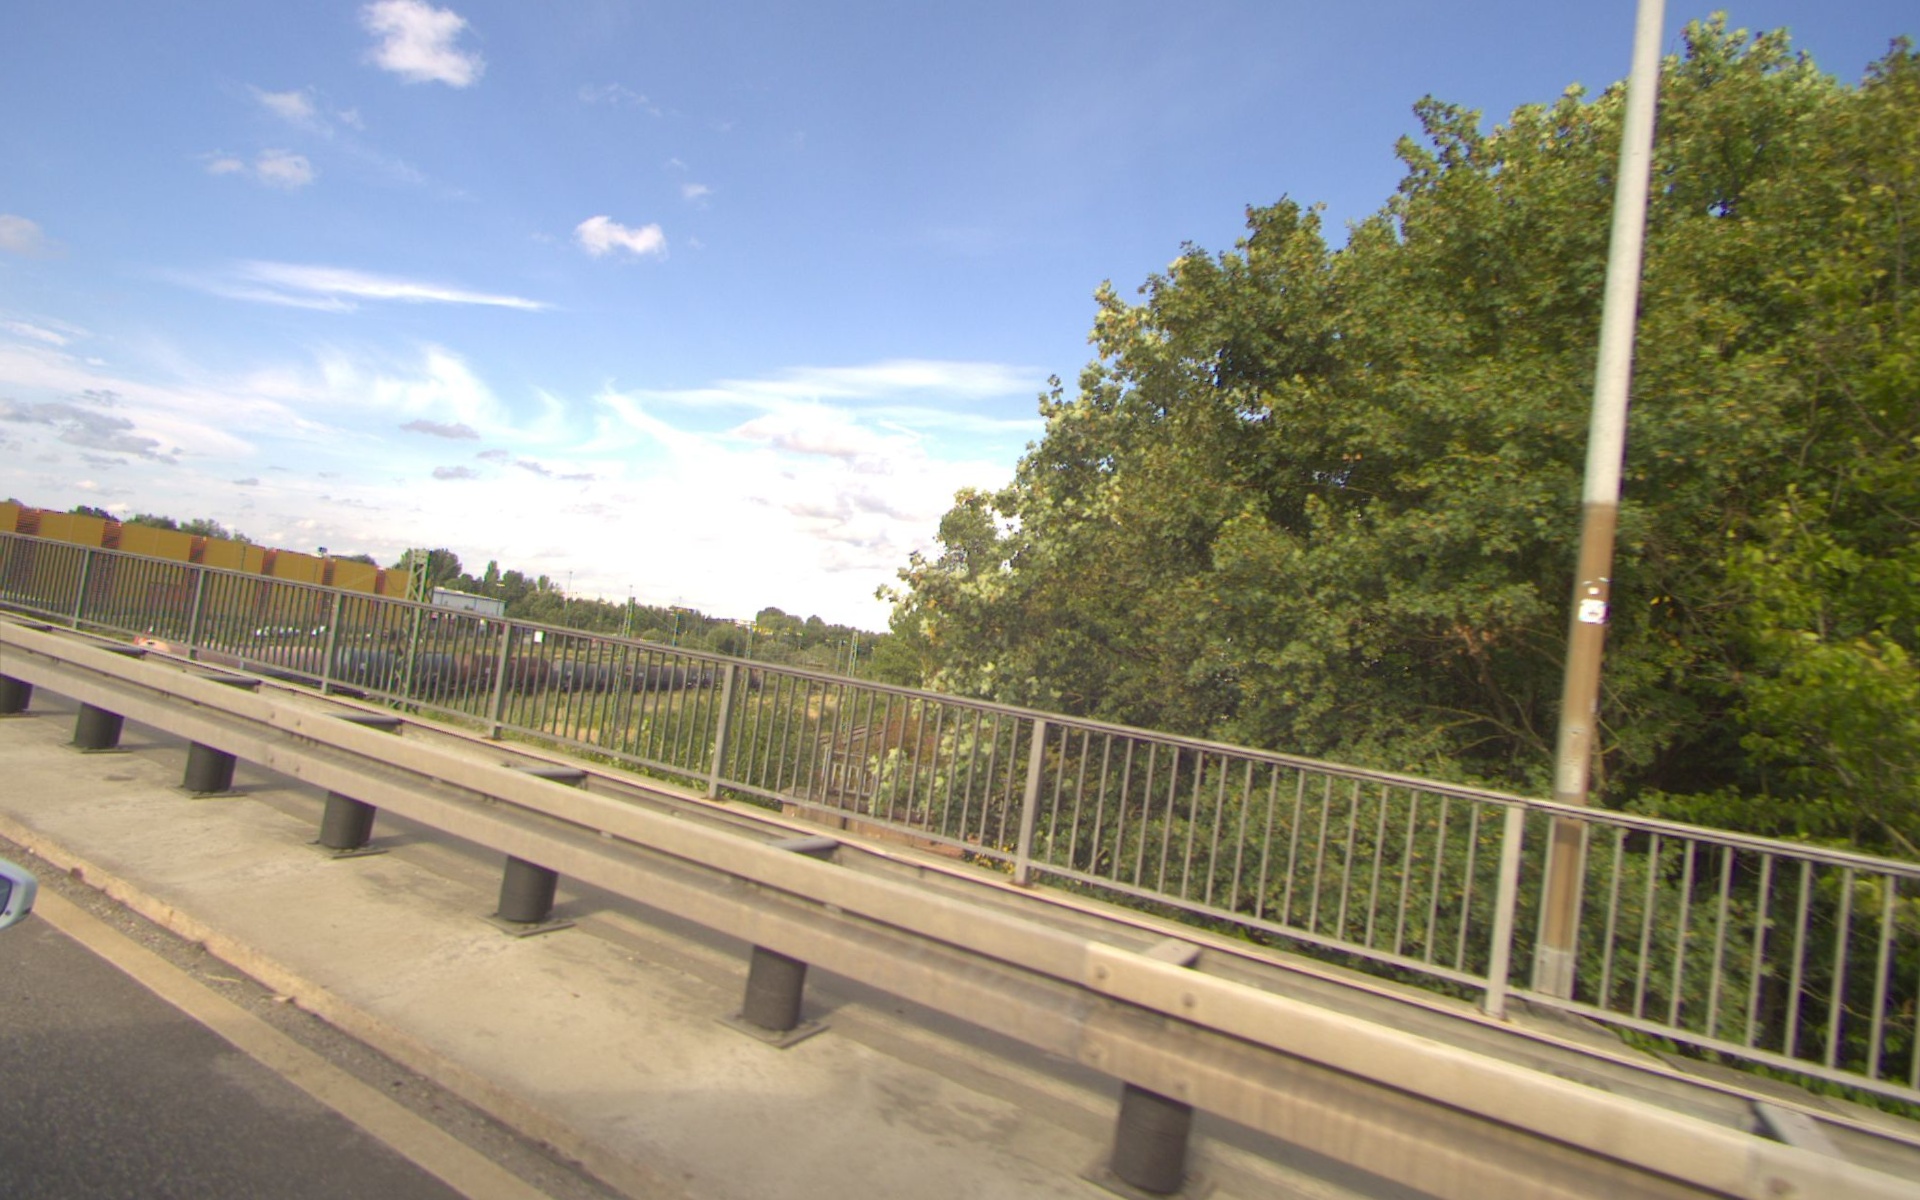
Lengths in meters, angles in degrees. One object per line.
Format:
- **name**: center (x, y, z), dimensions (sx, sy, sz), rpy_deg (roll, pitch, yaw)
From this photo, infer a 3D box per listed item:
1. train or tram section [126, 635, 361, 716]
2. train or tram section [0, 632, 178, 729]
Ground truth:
- **train or tram section**: center (-49.964, 5.128, 71.490), dimensions (3.038, 4.766, 16.768), rpy_deg (7, -2, 5)
- **train or tram section**: center (-51.564, 4.310, 54.800), dimensions (3.038, 4.766, 16.769), rpy_deg (7, -2, 6)
